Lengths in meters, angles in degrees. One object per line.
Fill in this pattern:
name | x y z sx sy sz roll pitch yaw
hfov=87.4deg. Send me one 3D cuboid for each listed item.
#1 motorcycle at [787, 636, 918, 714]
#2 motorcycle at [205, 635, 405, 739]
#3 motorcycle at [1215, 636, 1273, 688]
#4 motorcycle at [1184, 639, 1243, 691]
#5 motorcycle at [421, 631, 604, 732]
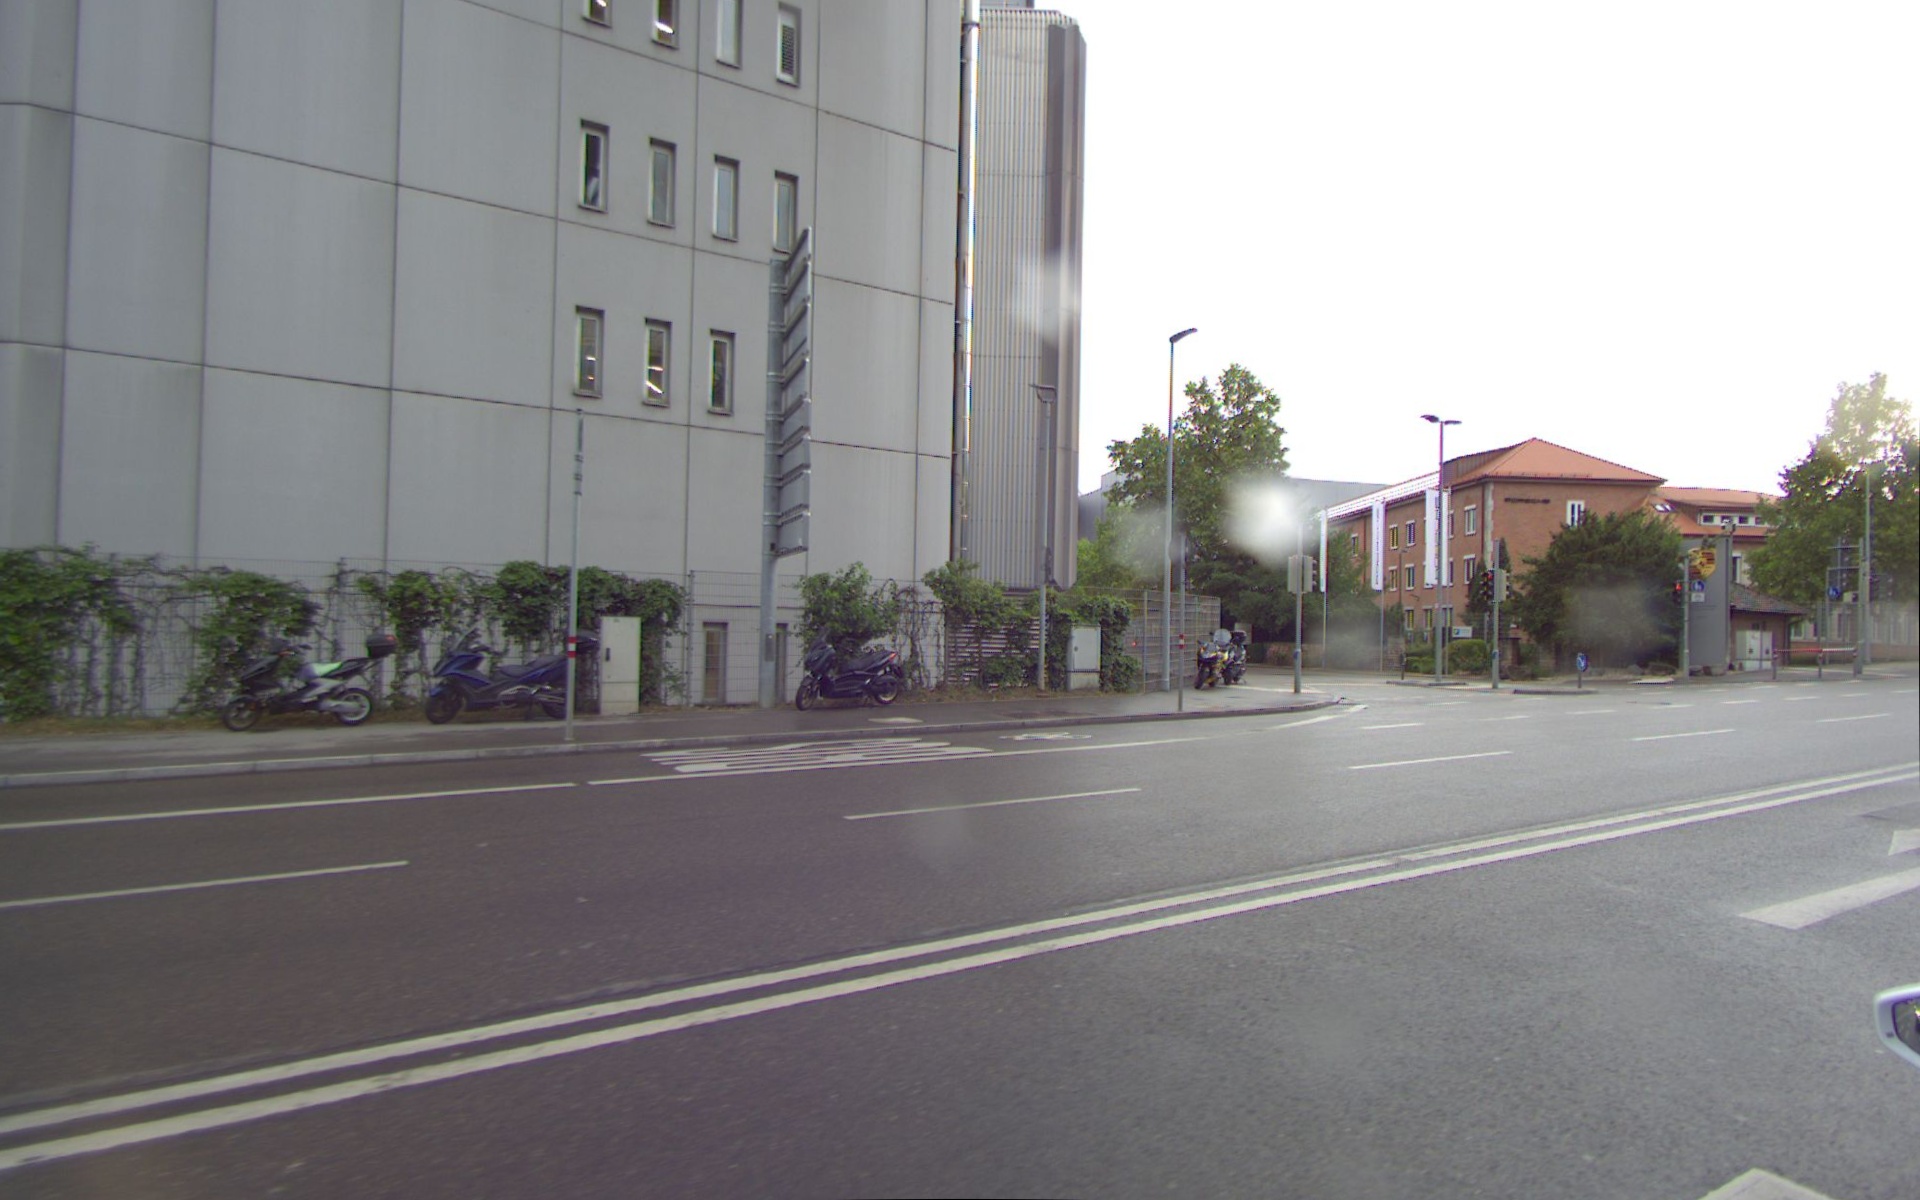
motorcycle | -1.857 1.274 17.422 2.132 1.263 0.781 1 -2 -31
motorcycle | -8.576 1.110 13.276 2.132 1.267 0.781 1 -2 -31
motorcycle | 7.963 1.697 28.060 1.008 1.355 2.771 -1 -2 28
motorcycle | 6.491 1.621 25.636 0.759 1.234 2.504 0 -2 31
motorcycle | -6.457 1.139 14.545 2.343 1.365 0.781 1 -2 -31
